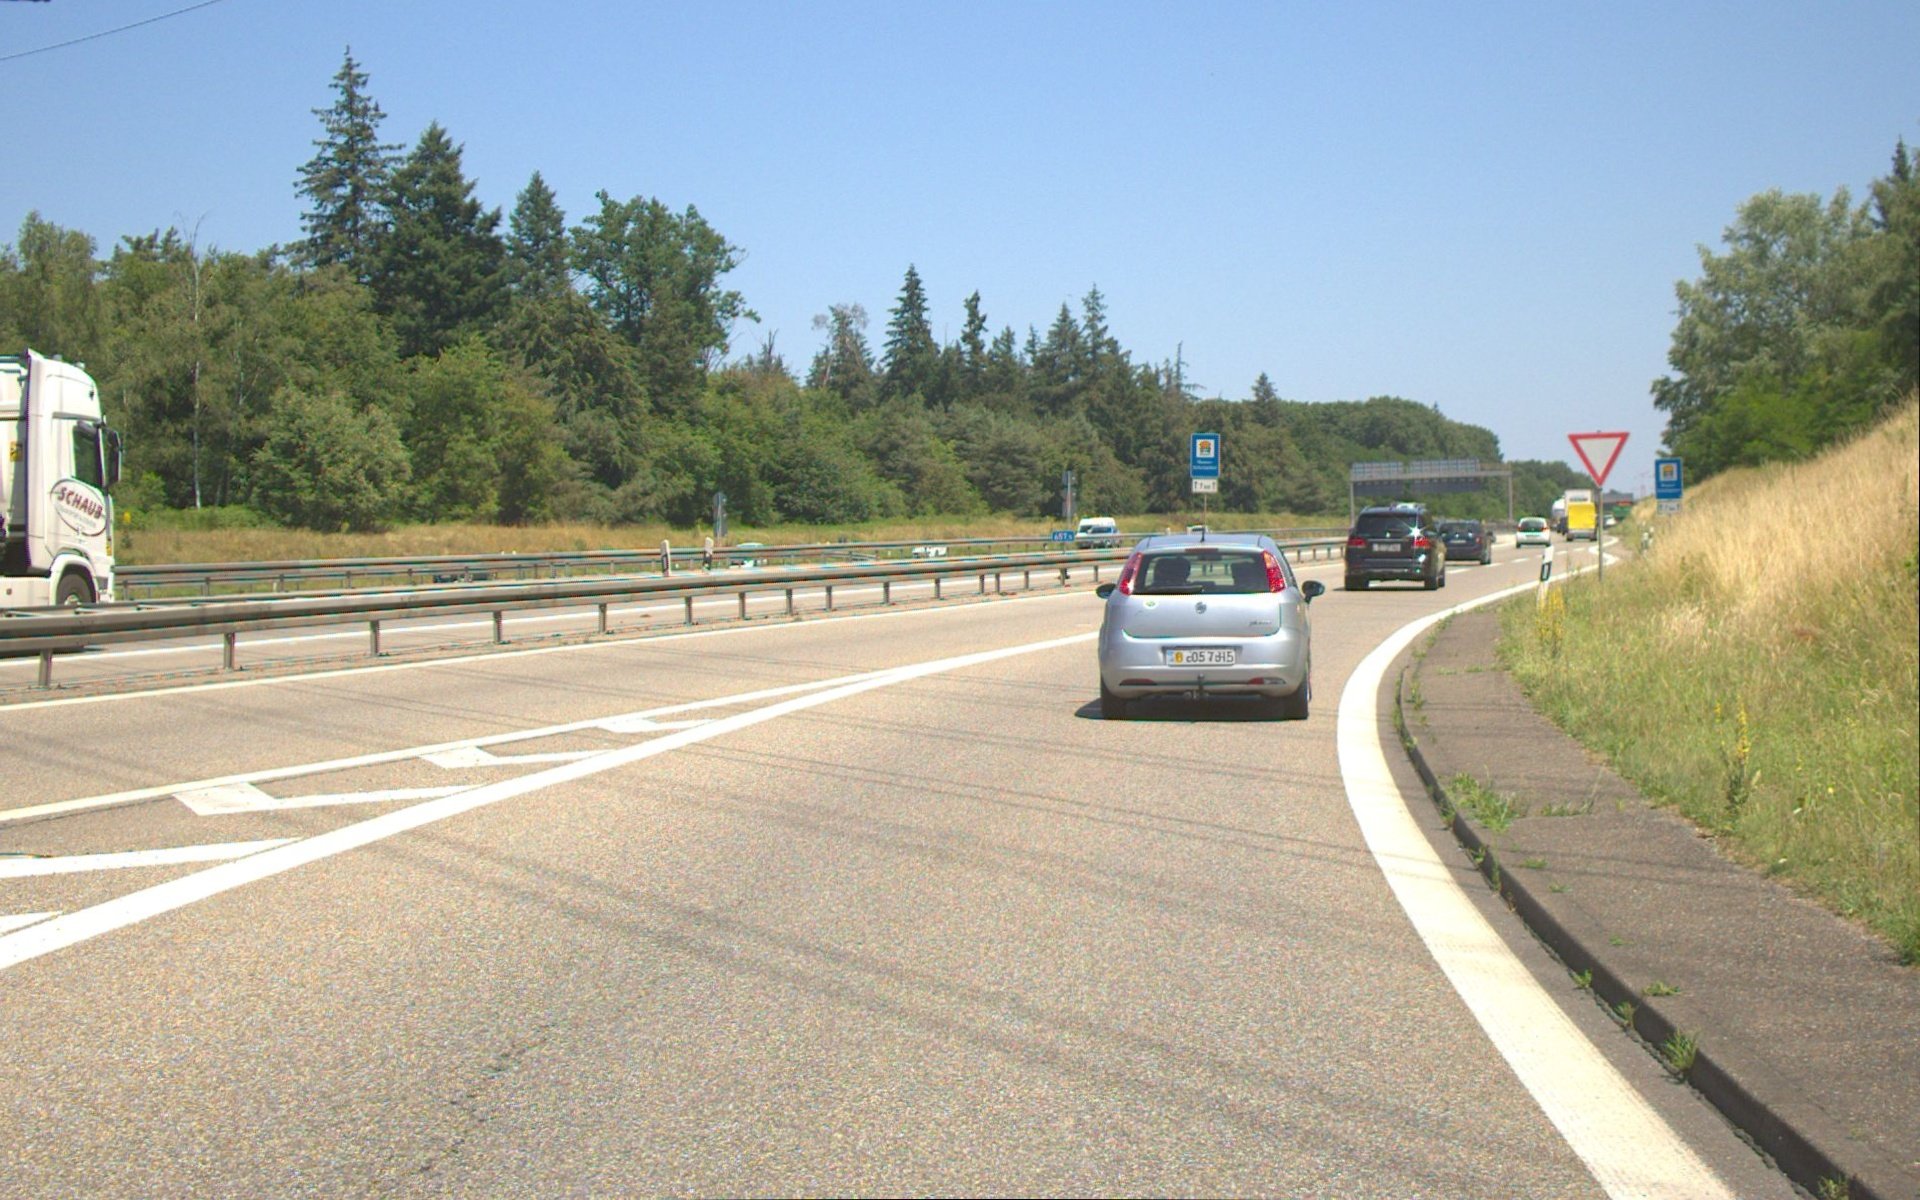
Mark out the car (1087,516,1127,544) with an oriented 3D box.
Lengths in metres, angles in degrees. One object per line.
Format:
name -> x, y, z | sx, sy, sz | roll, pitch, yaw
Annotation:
car -> 9.730, -4.596, 227.262 | 1.994, 1.777, 3.998 | 0, 1, 12

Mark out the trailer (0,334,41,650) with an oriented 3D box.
trailer -> -13.708, -1.213, 37.790 | 2.772, 3.794, 9.880 | 0, 1, 12

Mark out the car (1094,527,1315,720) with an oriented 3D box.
car -> 2.031, 0.146, 28.342 | 1.706, 1.476, 3.397 | 0, 1, 5

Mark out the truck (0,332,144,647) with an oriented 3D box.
truck -> -12.578, -1.338, 43.250 | 2.758, 3.794, 4.619 | 0, 1, 12

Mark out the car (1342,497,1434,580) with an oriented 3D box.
car -> 9.062, -1.282, 72.647 | 1.707, 1.670, 3.396 | -1, 0, 11
